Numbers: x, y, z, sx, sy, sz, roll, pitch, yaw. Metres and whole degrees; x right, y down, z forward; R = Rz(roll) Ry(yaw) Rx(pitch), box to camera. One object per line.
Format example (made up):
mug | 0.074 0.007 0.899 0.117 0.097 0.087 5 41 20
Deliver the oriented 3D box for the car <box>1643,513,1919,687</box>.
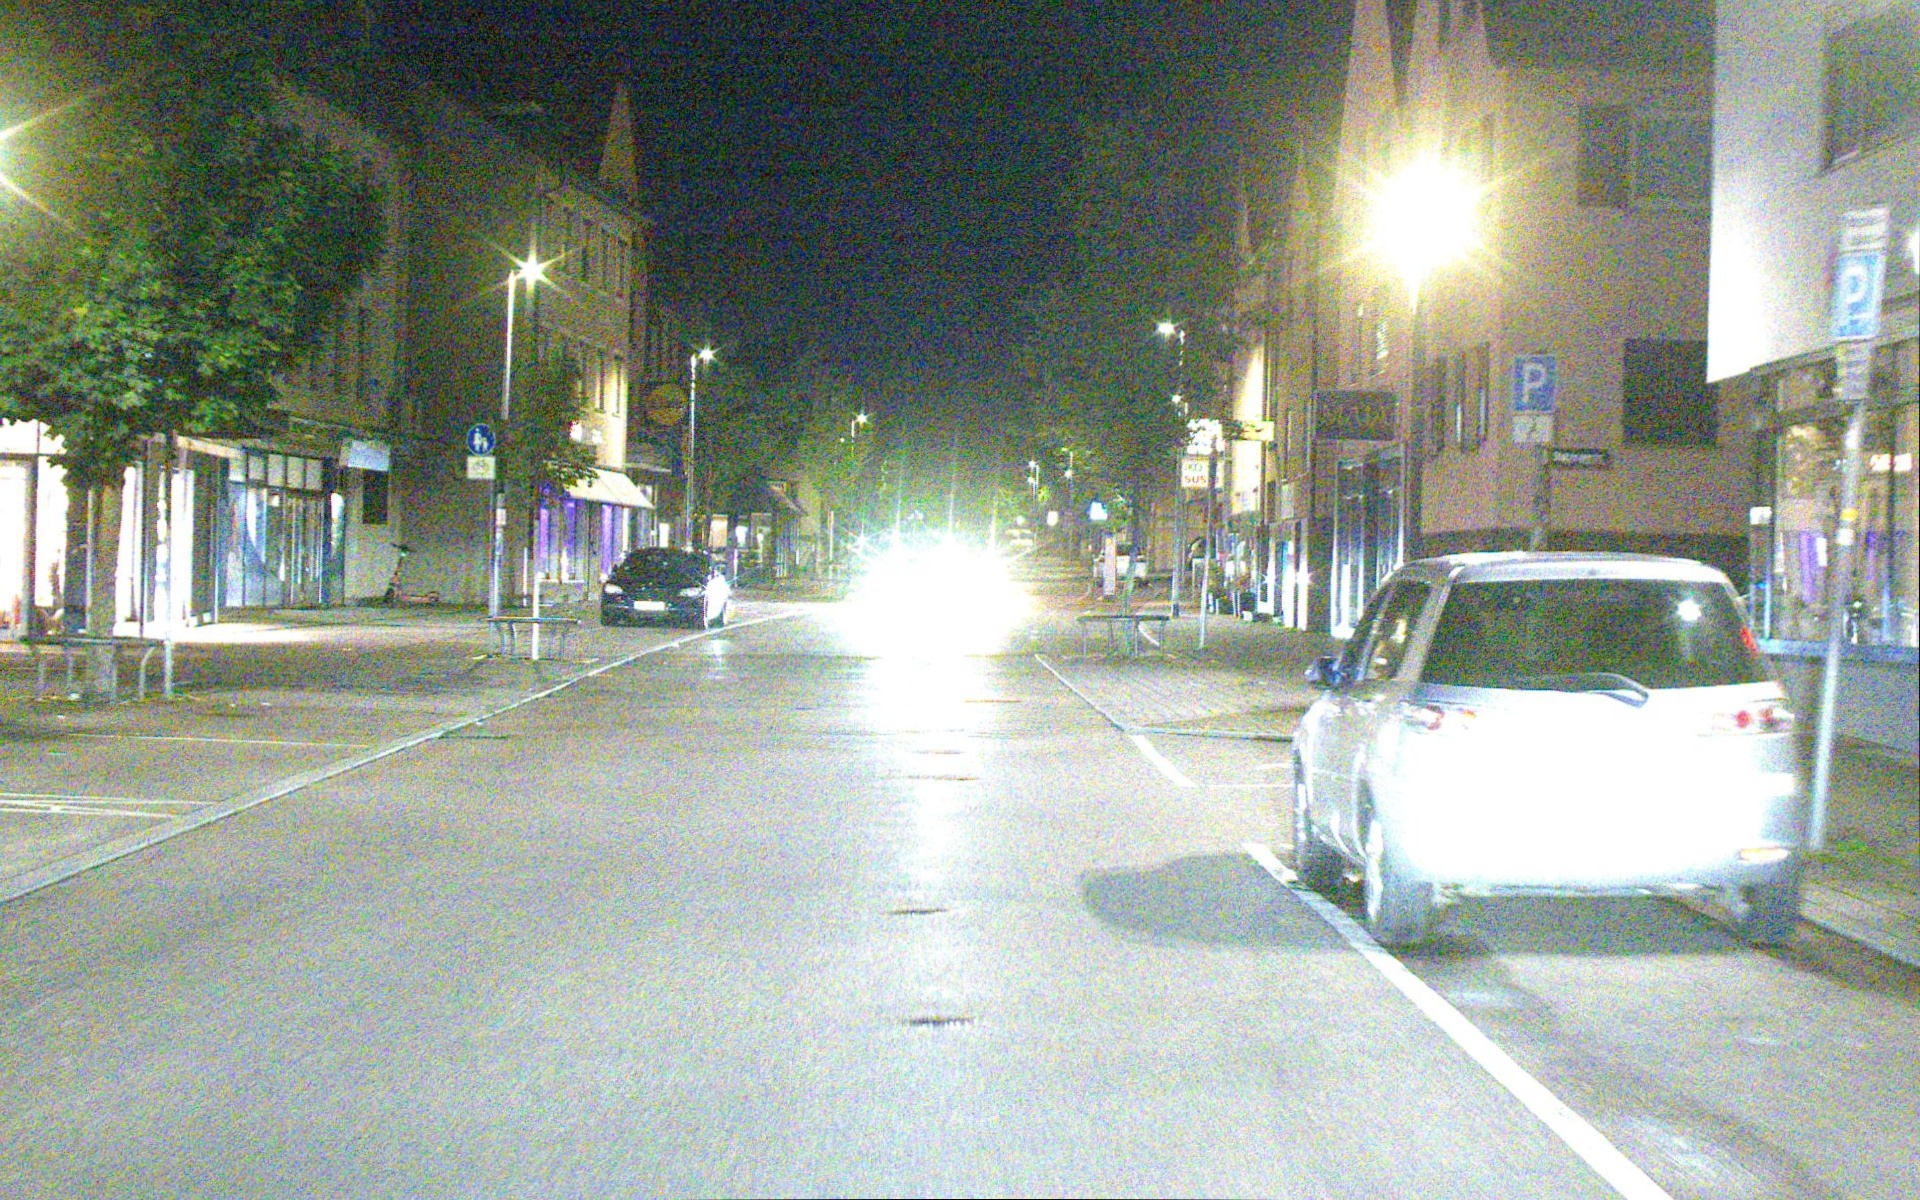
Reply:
car | 9.110 -0.051 34.399 4.076 1.576 1.817 -3 1 -3

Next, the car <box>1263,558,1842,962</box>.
car | 2.339 0.581 14.452 1.674 1.455 3.676 1 0 -2

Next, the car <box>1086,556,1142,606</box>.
car | 5.187 -0.655 116.275 1.775 1.647 4.364 1 1 1

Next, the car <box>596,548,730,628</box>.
car | -5.378 -0.248 62.781 1.914 1.366 4.457 1 1 2

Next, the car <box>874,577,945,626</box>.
car | -1.334 0.019 92.094 1.723 1.242 4.237 1 0 1

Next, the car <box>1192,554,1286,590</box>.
car | 12.106 -1.214 149.177 3.988 1.412 1.999 1 -1 6

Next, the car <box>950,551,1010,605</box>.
car | 0.649 -0.698 108.425 1.775 1.647 4.364 1 1 2

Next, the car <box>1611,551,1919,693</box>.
car | 9.705 0.229 39.596 3.986 1.471 1.752 -2 0 -2
